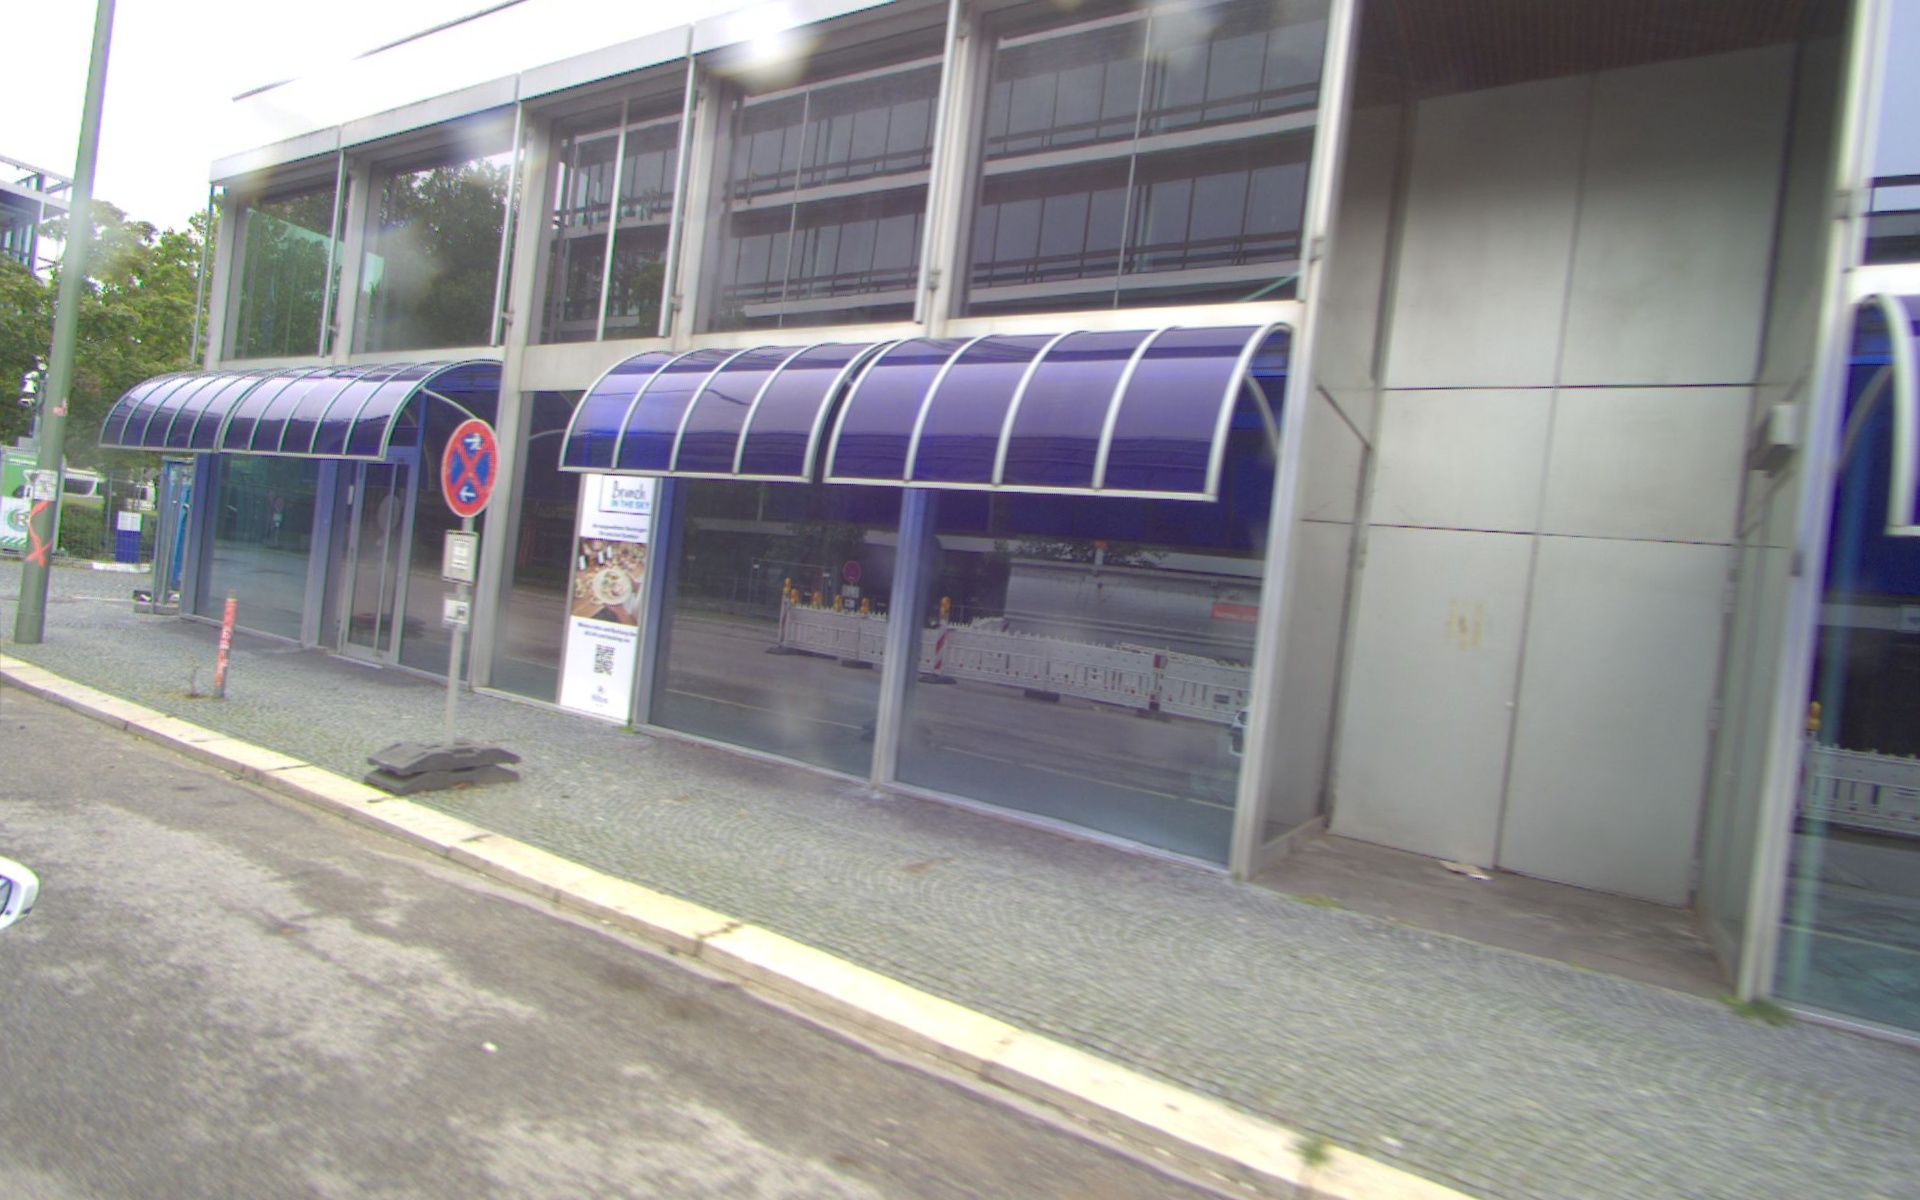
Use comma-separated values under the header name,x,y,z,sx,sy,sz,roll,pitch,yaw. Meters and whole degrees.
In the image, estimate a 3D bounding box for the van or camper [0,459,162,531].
name,x,y,z,sx,sy,sz,roll,pitch,yaw
van or camper,-41.661,-4.889,47.099,2.212,2.308,6.422,7,-1,18
